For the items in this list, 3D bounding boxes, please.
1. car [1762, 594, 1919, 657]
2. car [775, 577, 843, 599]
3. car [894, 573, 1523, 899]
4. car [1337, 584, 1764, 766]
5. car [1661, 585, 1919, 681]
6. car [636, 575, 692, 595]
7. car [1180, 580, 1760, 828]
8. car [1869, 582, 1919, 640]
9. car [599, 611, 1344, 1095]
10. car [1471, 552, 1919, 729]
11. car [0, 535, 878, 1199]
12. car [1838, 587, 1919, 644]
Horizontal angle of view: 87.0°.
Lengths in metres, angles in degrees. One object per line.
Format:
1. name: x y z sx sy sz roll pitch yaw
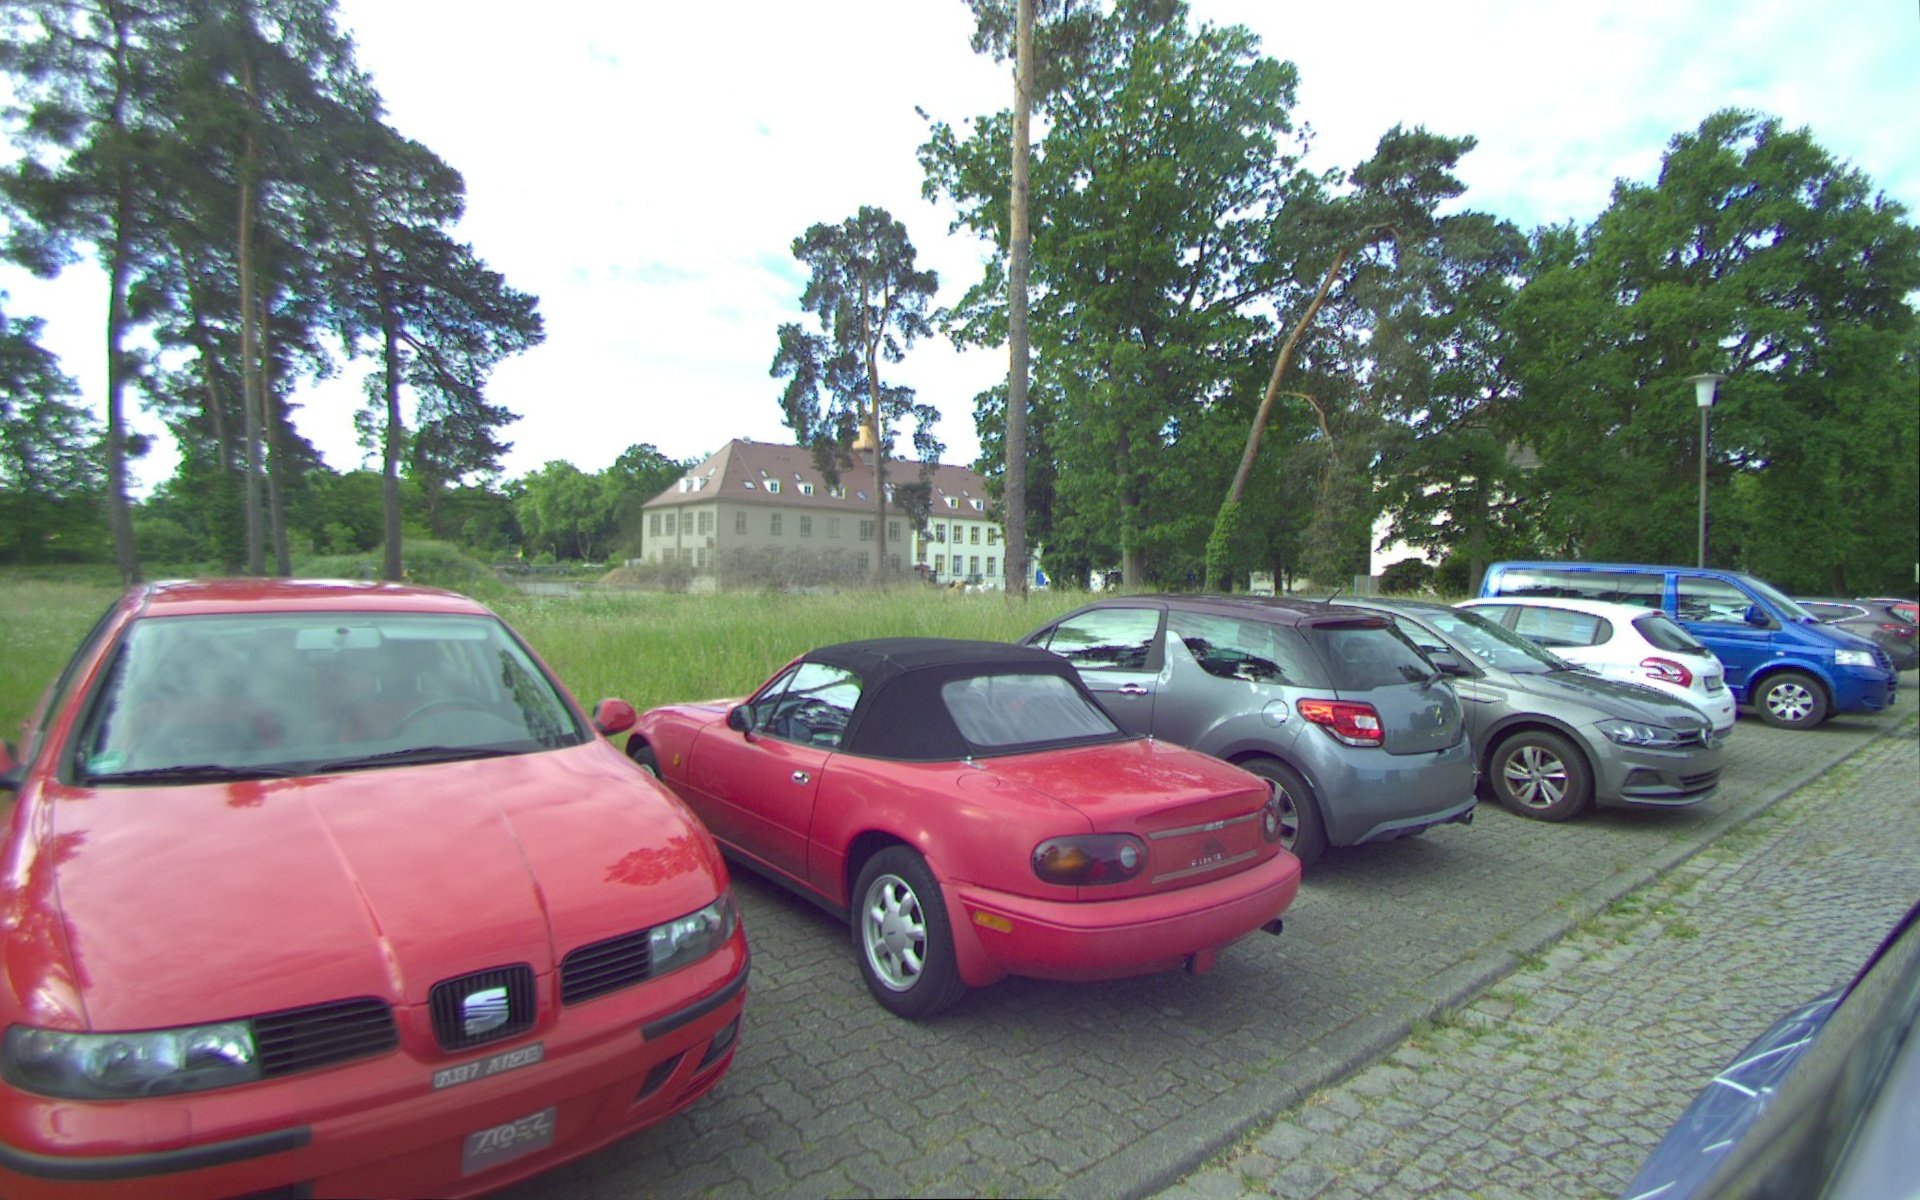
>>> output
1. car: 23.822 0.637 26.609 1.965 1.549 3.994 0 0 -40
2. car: -10.164 -0.795 68.317 4.183 1.433 1.885 0 2 -41
3. car: 1.427 0.612 6.826 1.768 1.524 3.782 0 1 -42
4. car: 5.841 0.607 10.297 1.608 1.470 3.408 0 1 -39
5. car: 16.337 0.558 19.743 1.965 1.630 3.995 0 1 -40
6. car: -29.371 -1.521 100.277 6.170 1.882 2.305 2 1 41
7. car: 3.902 0.612 8.292 1.787 1.474 3.850 0 1 -38
8. car: 34.956 0.422 35.730 1.964 2.039 3.996 0 1 -39
9. car: -0.286 0.725 4.684 1.468 1.222 3.599 1 1 -39
10. car: 9.861 0.368 13.801 1.965 1.963 4.747 0 2 -41
11. car: -2.163 0.586 3.503 1.768 1.470 3.970 0 1 -40
12. car: 31.547 0.523 33.069 1.964 1.784 4.007 0 1 -39
